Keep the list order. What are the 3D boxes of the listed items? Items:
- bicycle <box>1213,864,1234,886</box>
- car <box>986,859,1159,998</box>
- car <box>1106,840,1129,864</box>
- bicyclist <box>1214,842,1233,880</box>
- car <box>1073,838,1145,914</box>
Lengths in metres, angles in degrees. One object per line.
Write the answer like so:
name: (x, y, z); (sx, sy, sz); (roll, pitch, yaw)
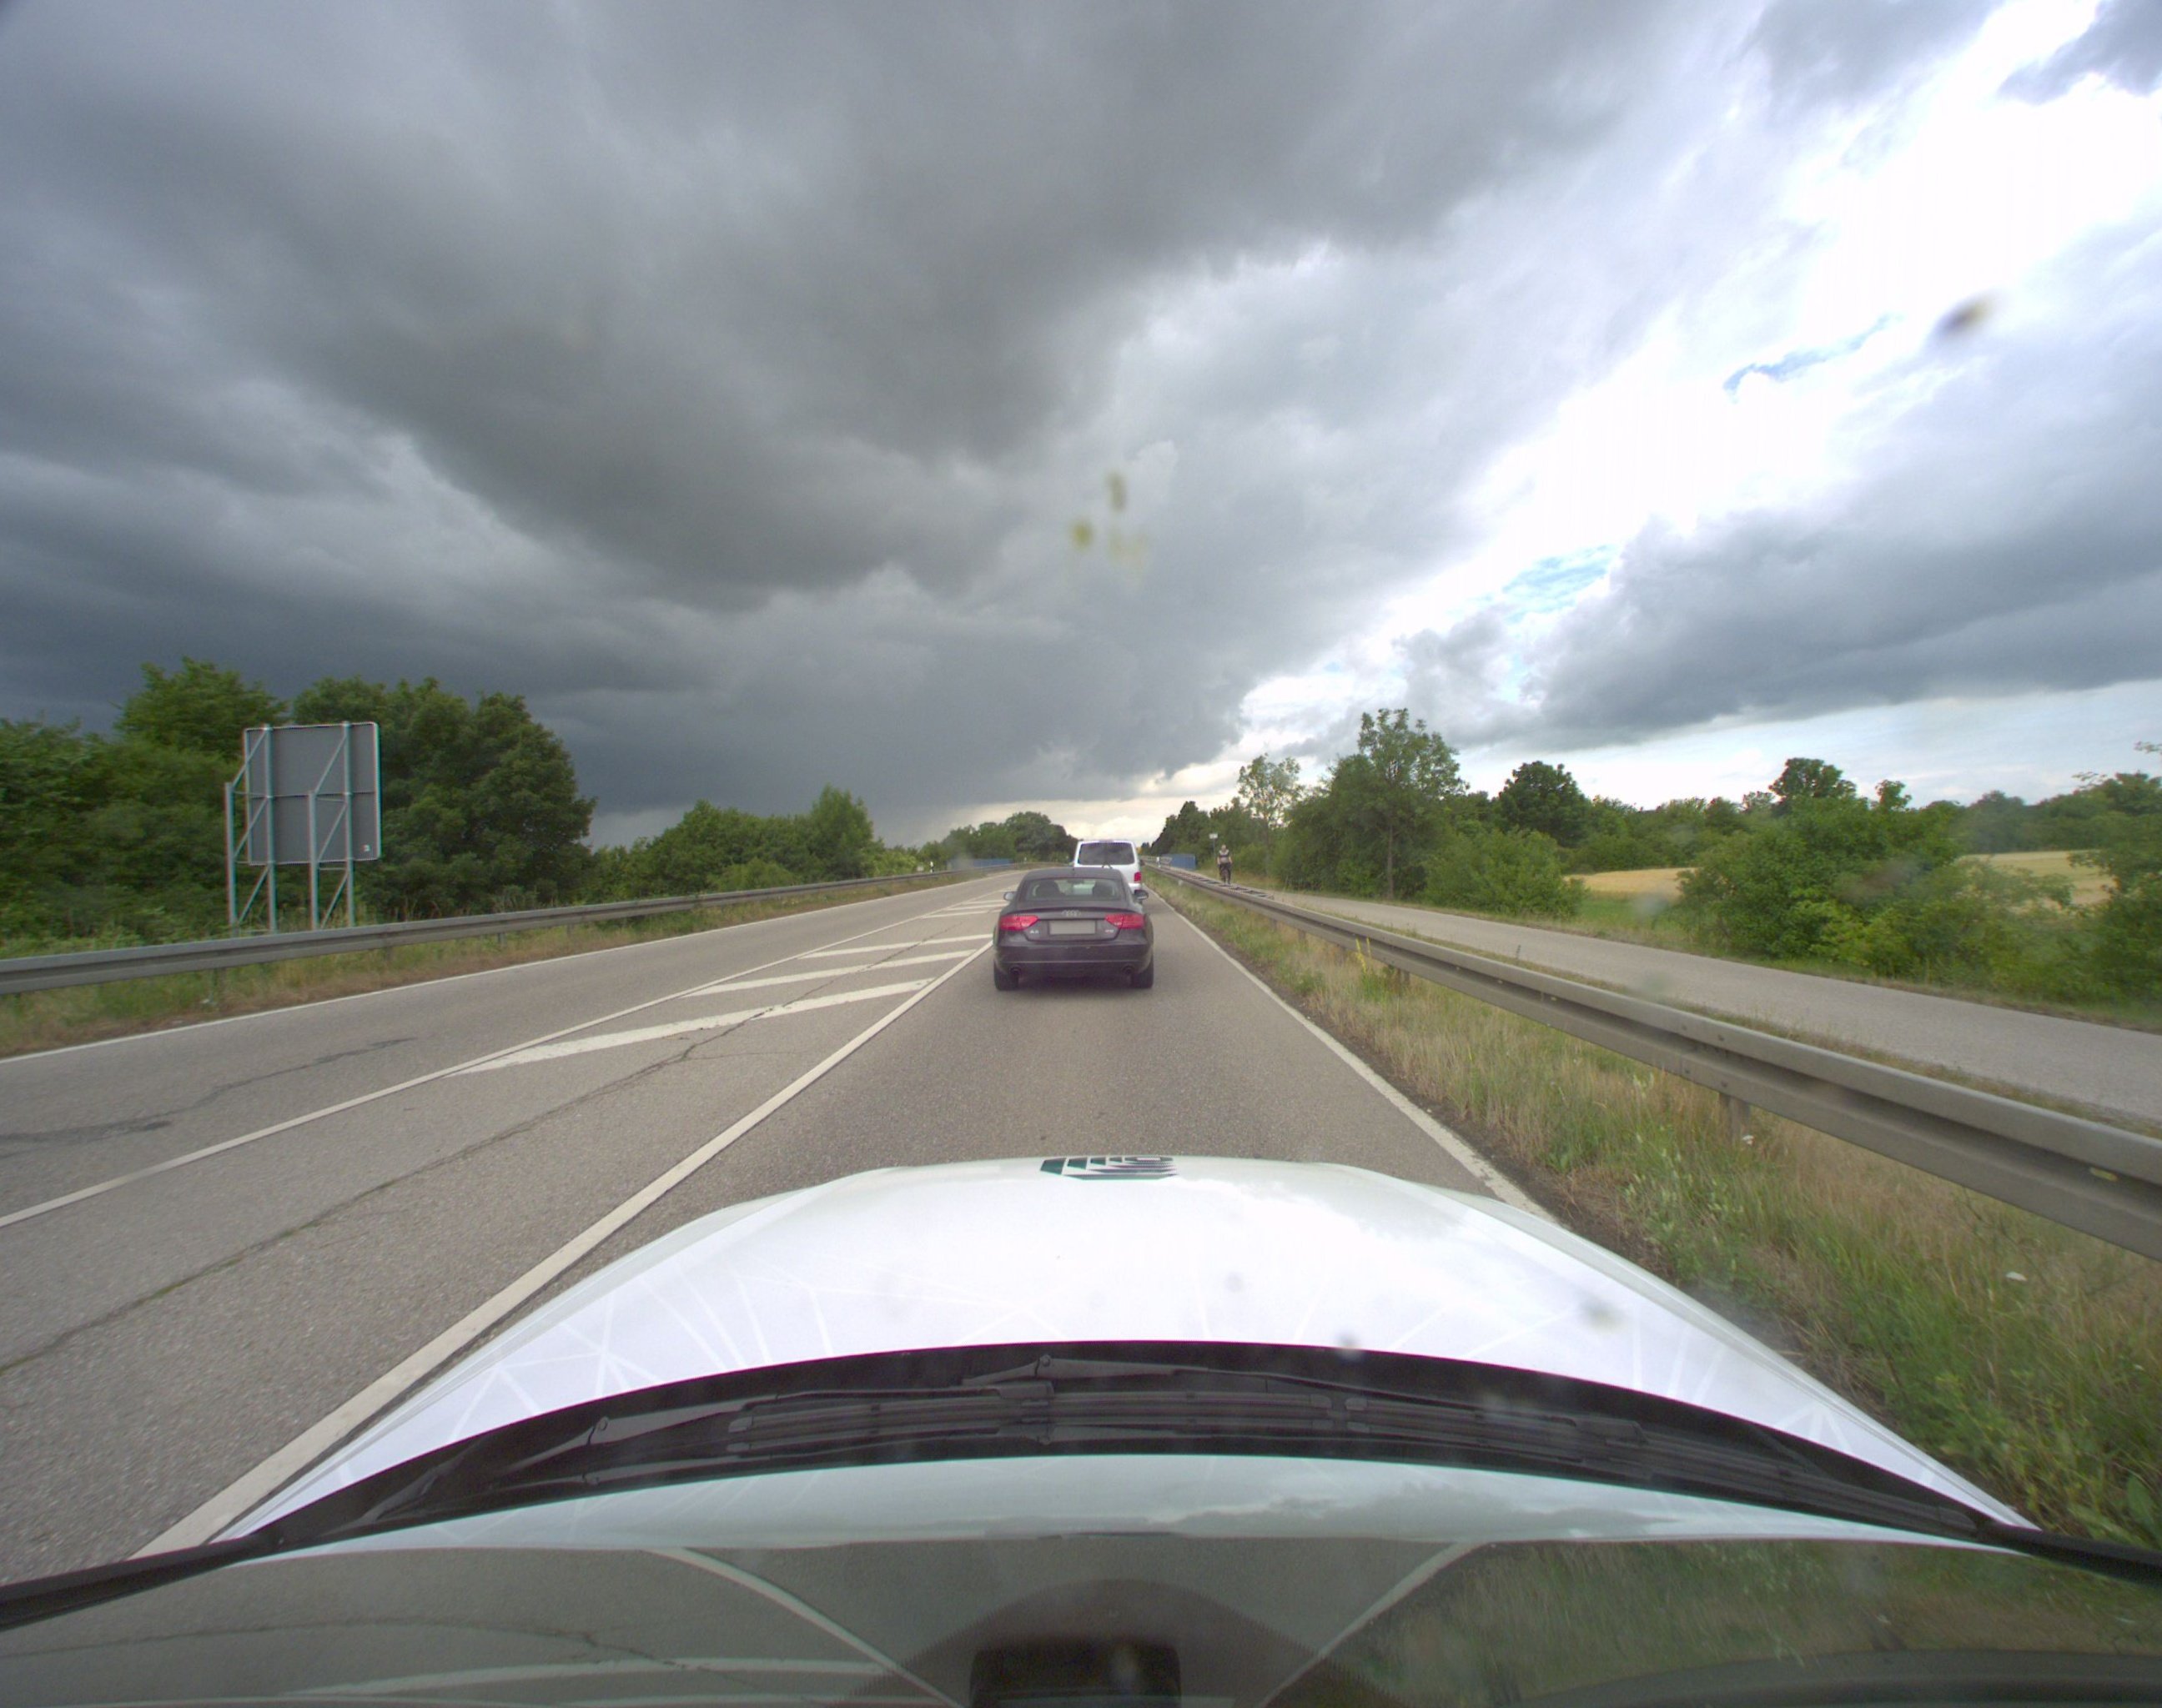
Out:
bicycle: (6.328, 0.925, 36.167); (0.663, 0.920, 1.831); (-2, 0, 2)
car: (-0.020, 0.795, 10.418); (1.779, 1.424, 4.002); (-1, -1, 2)
car: (3.962, -0.188, 89.085); (2.438, 2.504, 5.044); (-1, 0, 2)
bicyclist: (6.317, 0.311, 36.171); (0.644, 1.645, 0.866); (-2, -1, 2)
car: (0.762, 0.572, 22.362); (1.779, 1.890, 4.002); (-1, -1, 2)
